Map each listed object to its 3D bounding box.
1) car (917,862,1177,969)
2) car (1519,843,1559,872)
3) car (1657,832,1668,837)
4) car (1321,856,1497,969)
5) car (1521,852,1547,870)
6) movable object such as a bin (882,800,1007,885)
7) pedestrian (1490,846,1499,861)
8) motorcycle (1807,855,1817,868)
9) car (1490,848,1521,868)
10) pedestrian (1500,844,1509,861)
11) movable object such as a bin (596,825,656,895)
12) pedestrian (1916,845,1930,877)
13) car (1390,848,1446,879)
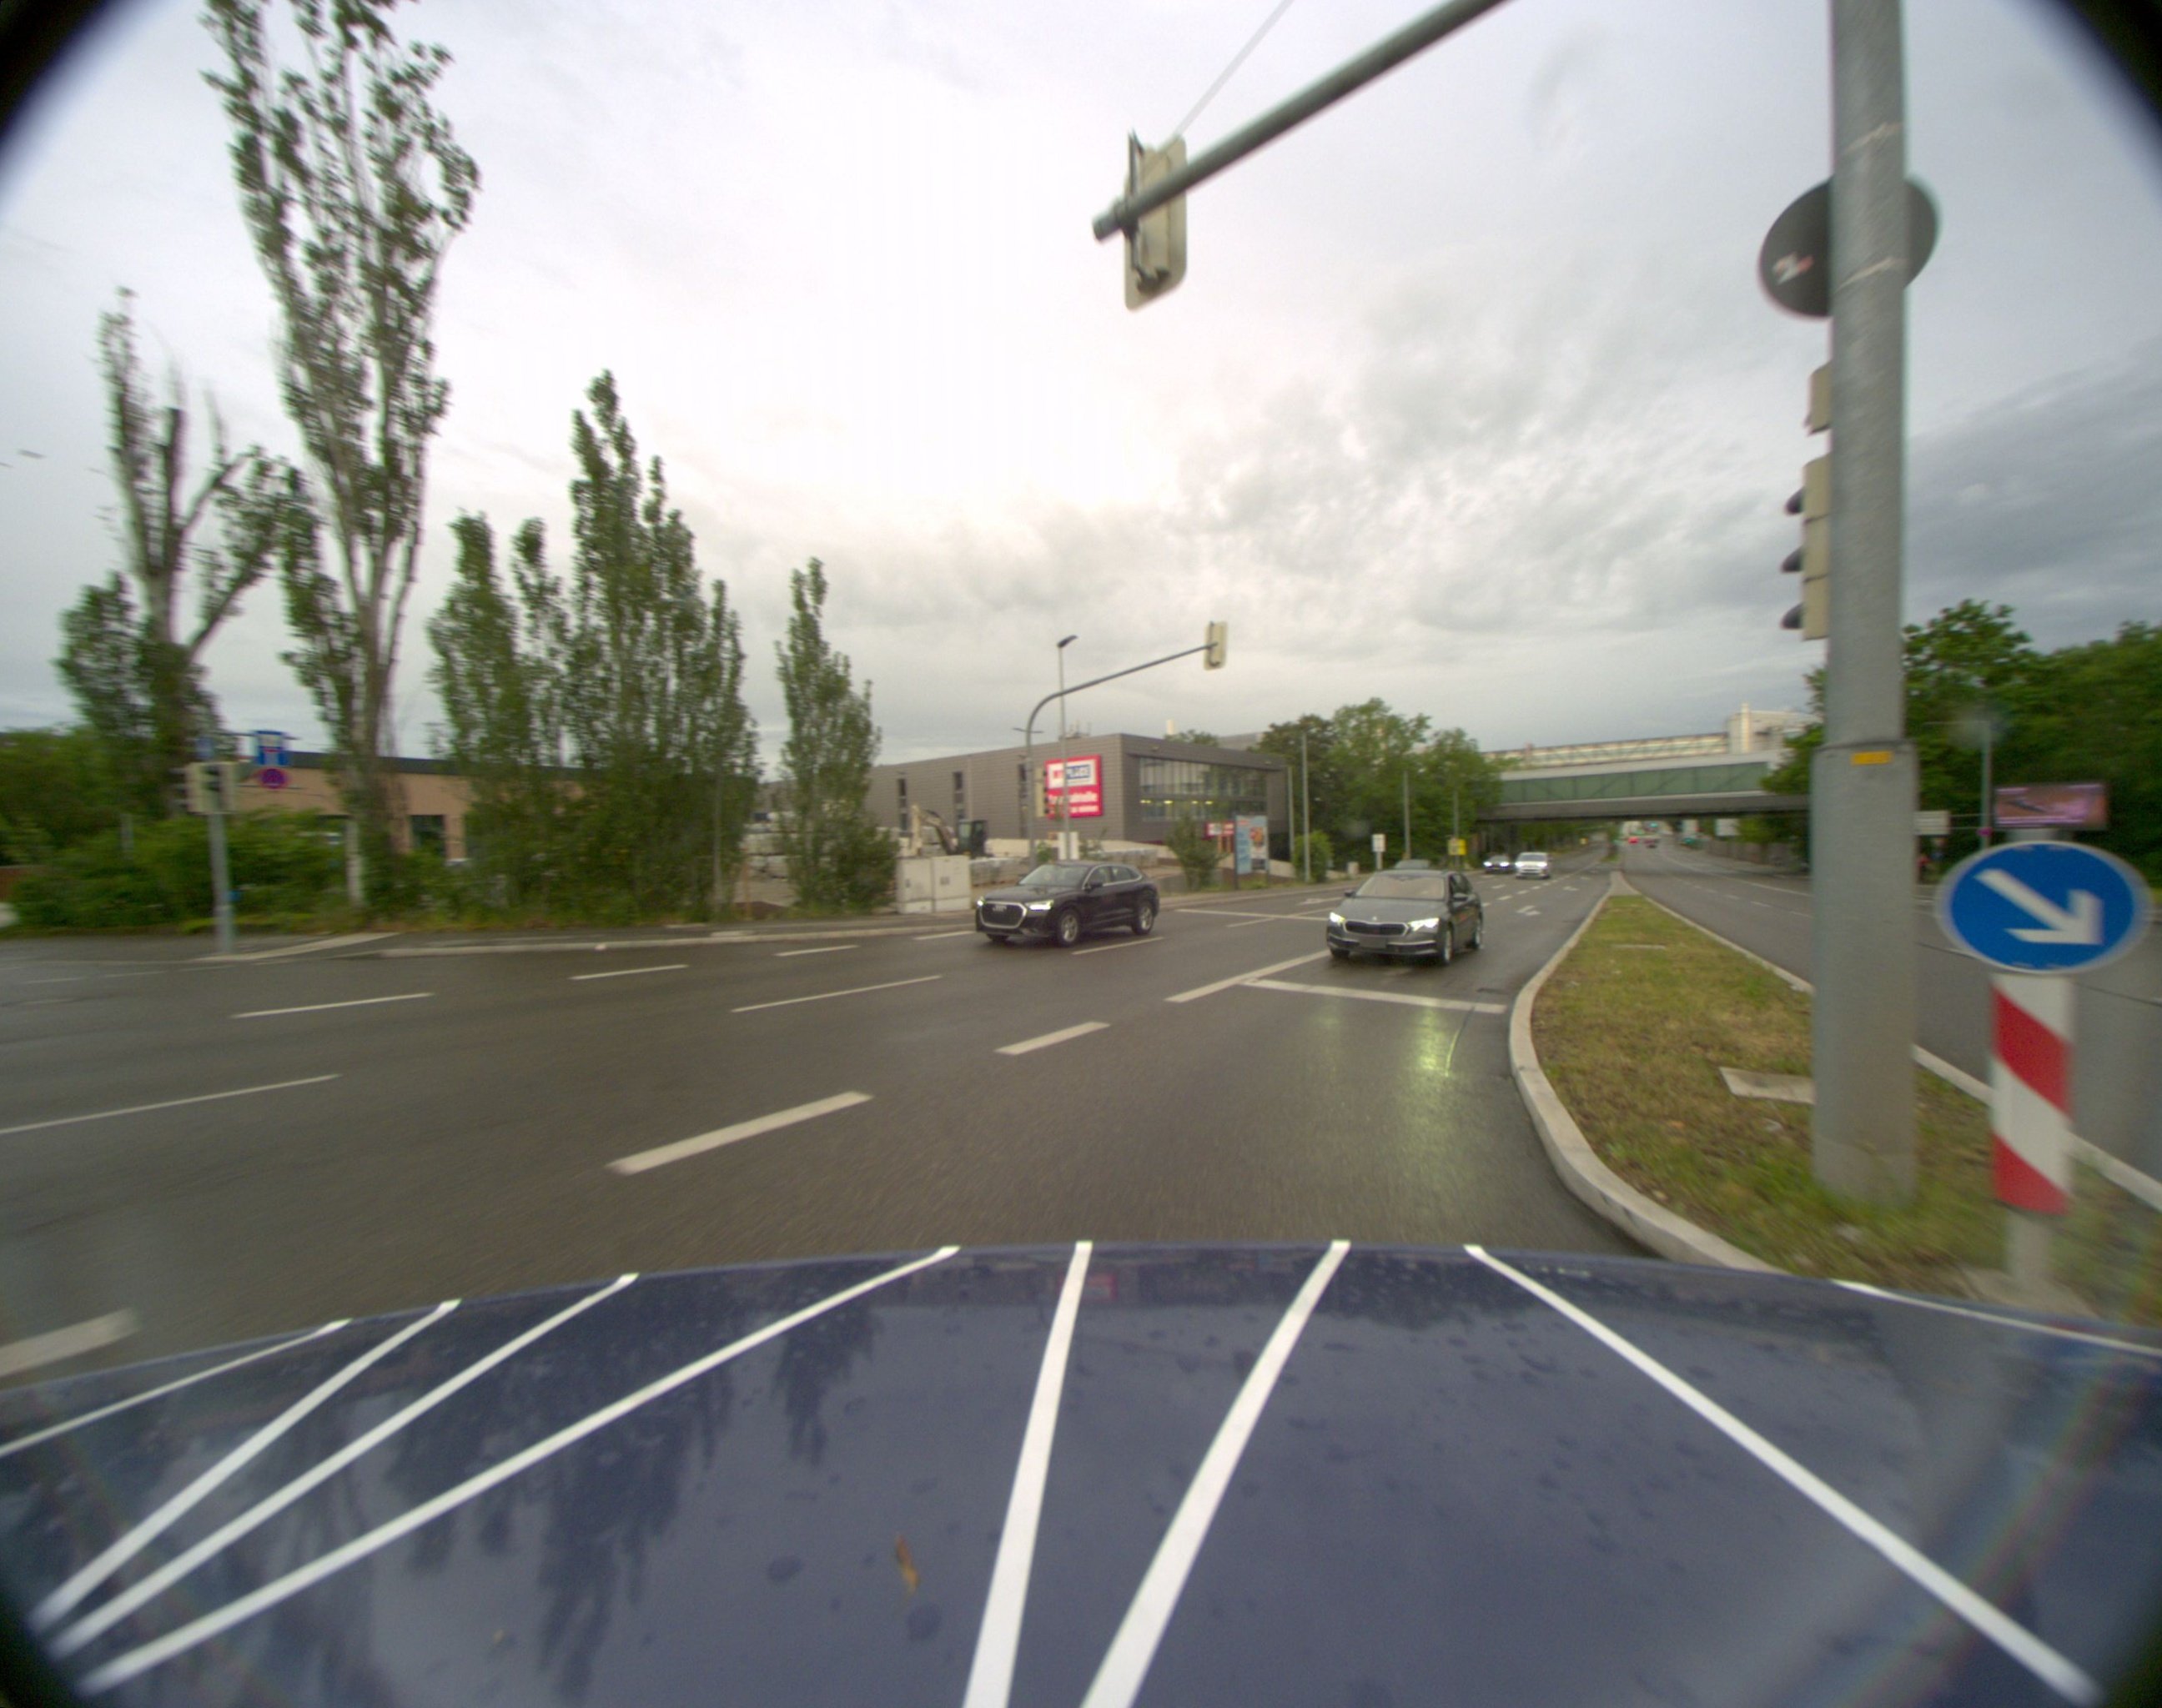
[{"bbox_3d":[-0.353,0.974,14.485,1.816,1.536,5.620,1,1,36],"label":"car"},{"bbox_3d":[32.710,0.239,54.196,2.030,1.920,4.340,0,2,36],"label":"car"},{"bbox_3d":[156.966,-5.222,205.091,2.064,1.354,4.766,1,1,35],"label":"car"},{"bbox_3d":[5.646,0.825,12.775,1.816,1.536,4.072,1,1,36],"label":"car"},{"bbox_3d":[44.562,0.684,74.689,1.816,1.571,4.340,0,2,36],"label":"car"},{"bbox_3d":[-5.620,-0.418,32.161,2.303,3.257,5.435,0,0,29],"label":"movable object such as a bin"},{"bbox_3d":[43.724,-0.077,80.278,0.580,1.587,0.651,-2,2,-42],"label":"pedestrian"},{"bbox_3d":[64.255,0.663,66.766,0.469,1.152,1.936,1,1,39],"label":"motorcycle"},{"bbox_3d":[36.879,0.343,65.951,1.821,1.581,4.340,0,2,36],"label":"car"},{"bbox_3d":[44.548,-0.142,79.876,0.893,1.711,0.611,-2,2,-44],"label":"pedestrian"},{"bbox_3d":[-18.413,0.244,30.732,1.904,2.603,4.967,0,0,-32],"label":"movable object such as a bin"},{"bbox_3d":[47.807,0.406,43.133,0.801,1.805,0.520,-2,1,-44],"label":"pedestrian"},{"bbox_3d":[17.771,0.488,39.996,1.745,1.422,4.525,-1,1,36],"label":"car"}]
